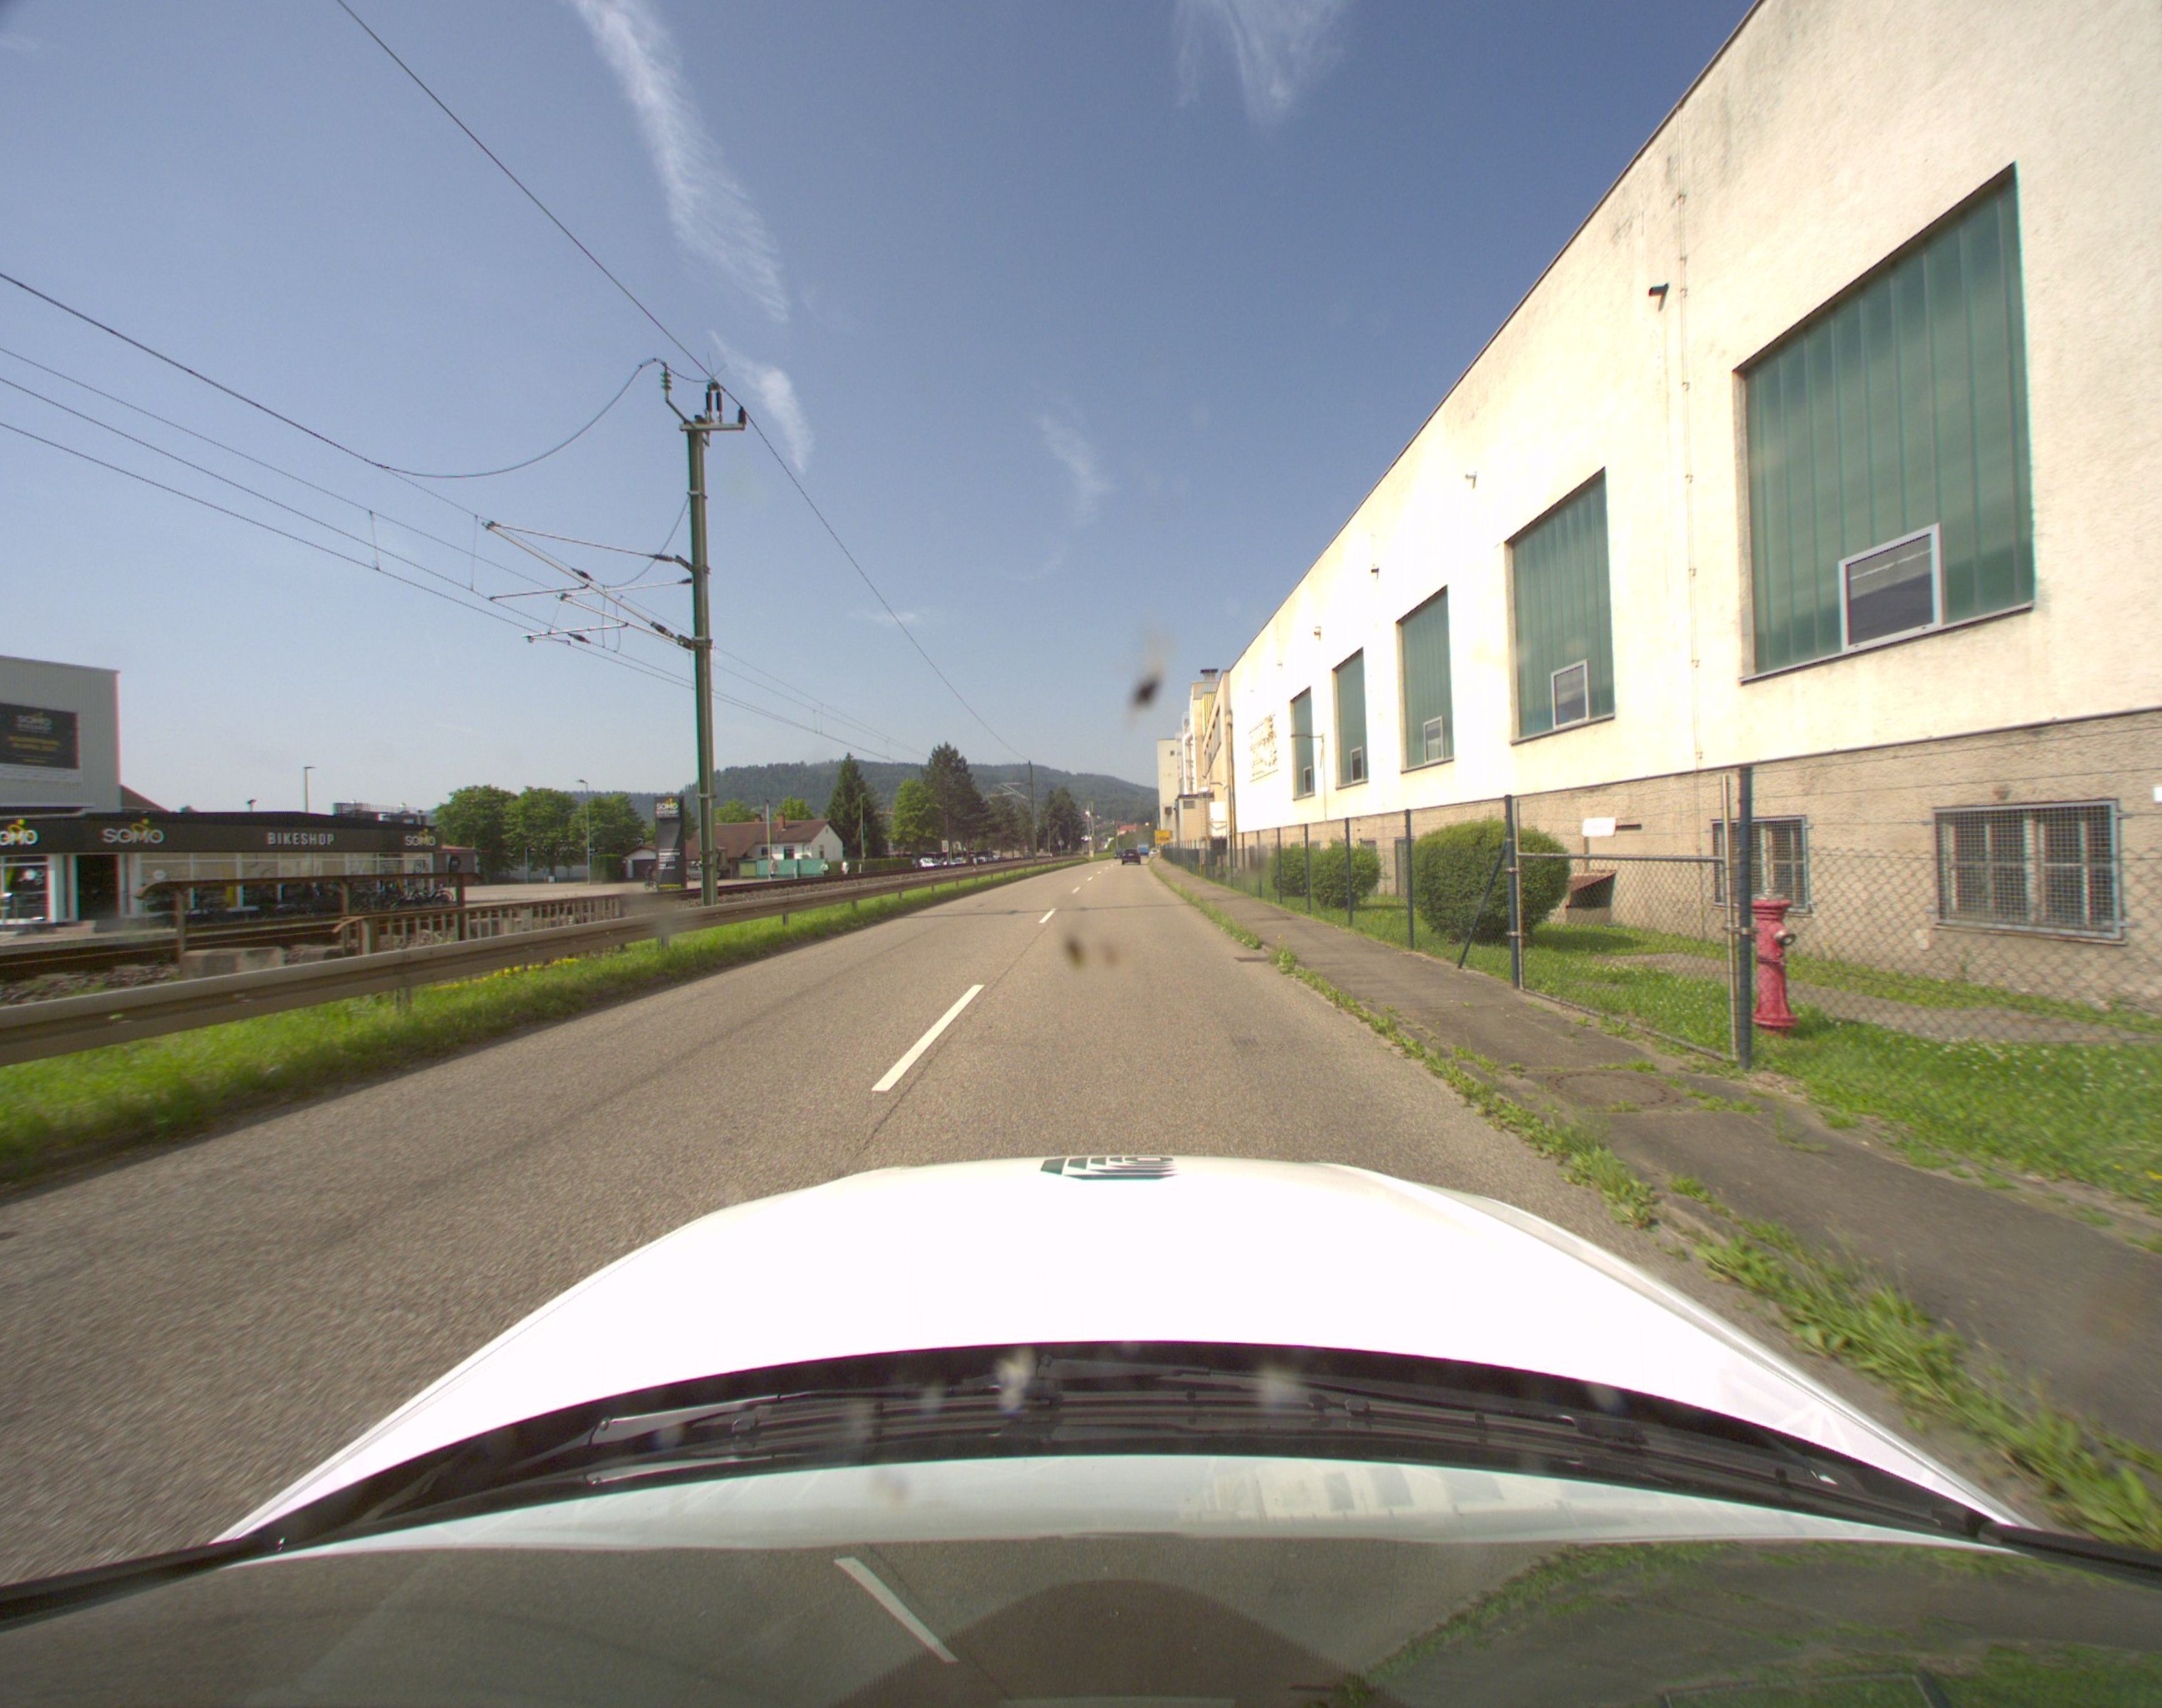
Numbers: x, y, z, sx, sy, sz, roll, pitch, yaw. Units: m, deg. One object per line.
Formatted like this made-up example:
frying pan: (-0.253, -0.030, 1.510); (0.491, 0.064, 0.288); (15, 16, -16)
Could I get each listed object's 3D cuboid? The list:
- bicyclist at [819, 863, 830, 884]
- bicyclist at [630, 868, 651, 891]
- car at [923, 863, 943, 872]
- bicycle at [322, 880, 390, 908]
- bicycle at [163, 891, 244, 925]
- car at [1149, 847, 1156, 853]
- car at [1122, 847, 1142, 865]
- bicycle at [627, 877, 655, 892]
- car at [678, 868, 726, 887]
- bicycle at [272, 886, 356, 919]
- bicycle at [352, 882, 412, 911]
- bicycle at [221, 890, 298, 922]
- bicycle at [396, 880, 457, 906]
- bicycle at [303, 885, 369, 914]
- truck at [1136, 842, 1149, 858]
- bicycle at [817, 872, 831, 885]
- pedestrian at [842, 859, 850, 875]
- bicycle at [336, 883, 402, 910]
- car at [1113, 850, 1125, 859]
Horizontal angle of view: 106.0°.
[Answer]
bicyclist: (-20.075, 1.532, 63.790); (0.531, 1.646, 0.832); (-2, 0, 0)
bicyclist: (-31.653, 1.829, 58.539); (0.742, 1.620, 1.147); (-2, 0, 5)
car: (-24.842, 2.289, 136.620); (1.696, 1.443, 3.808); (-2, 0, -38)
bicycle: (-32.204, 1.750, 36.210); (2.166, 1.130, 0.728); (-2, -1, -9)
bicycle: (-32.217, 1.973, 29.908); (2.159, 1.130, 0.730); (-2, -1, 1)
car: (19.701, -1.104, 223.664); (1.658, 1.823, 3.759); (-2, 0, 7)
car: (5.132, 0.194, 81.680); (1.912, 1.640, 4.003); (-2, 0, 3)
bicycle: (-31.637, 2.178, 58.584); (0.751, 1.017, 1.965); (-2, 0, 5)
car: (-36.998, 2.331, 79.640); (3.818, 1.651, 1.715); (-2, 0, 4)
bicycle: (-30.785, 1.930, 32.717); (0.721, 1.130, 2.337); (-2, -1, 35)
bicycle: (-30.638, 1.861, 35.743); (0.725, 1.130, 2.174); (-2, 0, 0)
bicycle: (-32.636, 2.052, 32.407); (0.724, 1.130, 2.176); (-2, 0, 4)
bicycle: (-31.299, 1.836, 38.945); (2.166, 1.130, 0.728); (-2, -1, -9)
bicycle: (-32.179, 1.951, 35.171); (2.159, 1.130, 0.730); (-2, -1, 1)
truck: (11.868, -0.773, 157.687); (2.302, 2.970, 5.972); (-2, 0, 4)
bicycle: (-20.062, 1.890, 63.570); (0.543, 0.923, 1.710); (-2, 0, 0)
pedestrian: (-20.996, 1.163, 72.757); (0.572, 1.332, 0.673); (-2, 0, -3)
bicycle: (-32.333, 1.923, 36.998); (2.166, 1.130, 0.728); (-2, -1, -9)
car: (6.427, 0.106, 138.052); (1.754, 1.403, 4.128); (-2, 0, 7)
